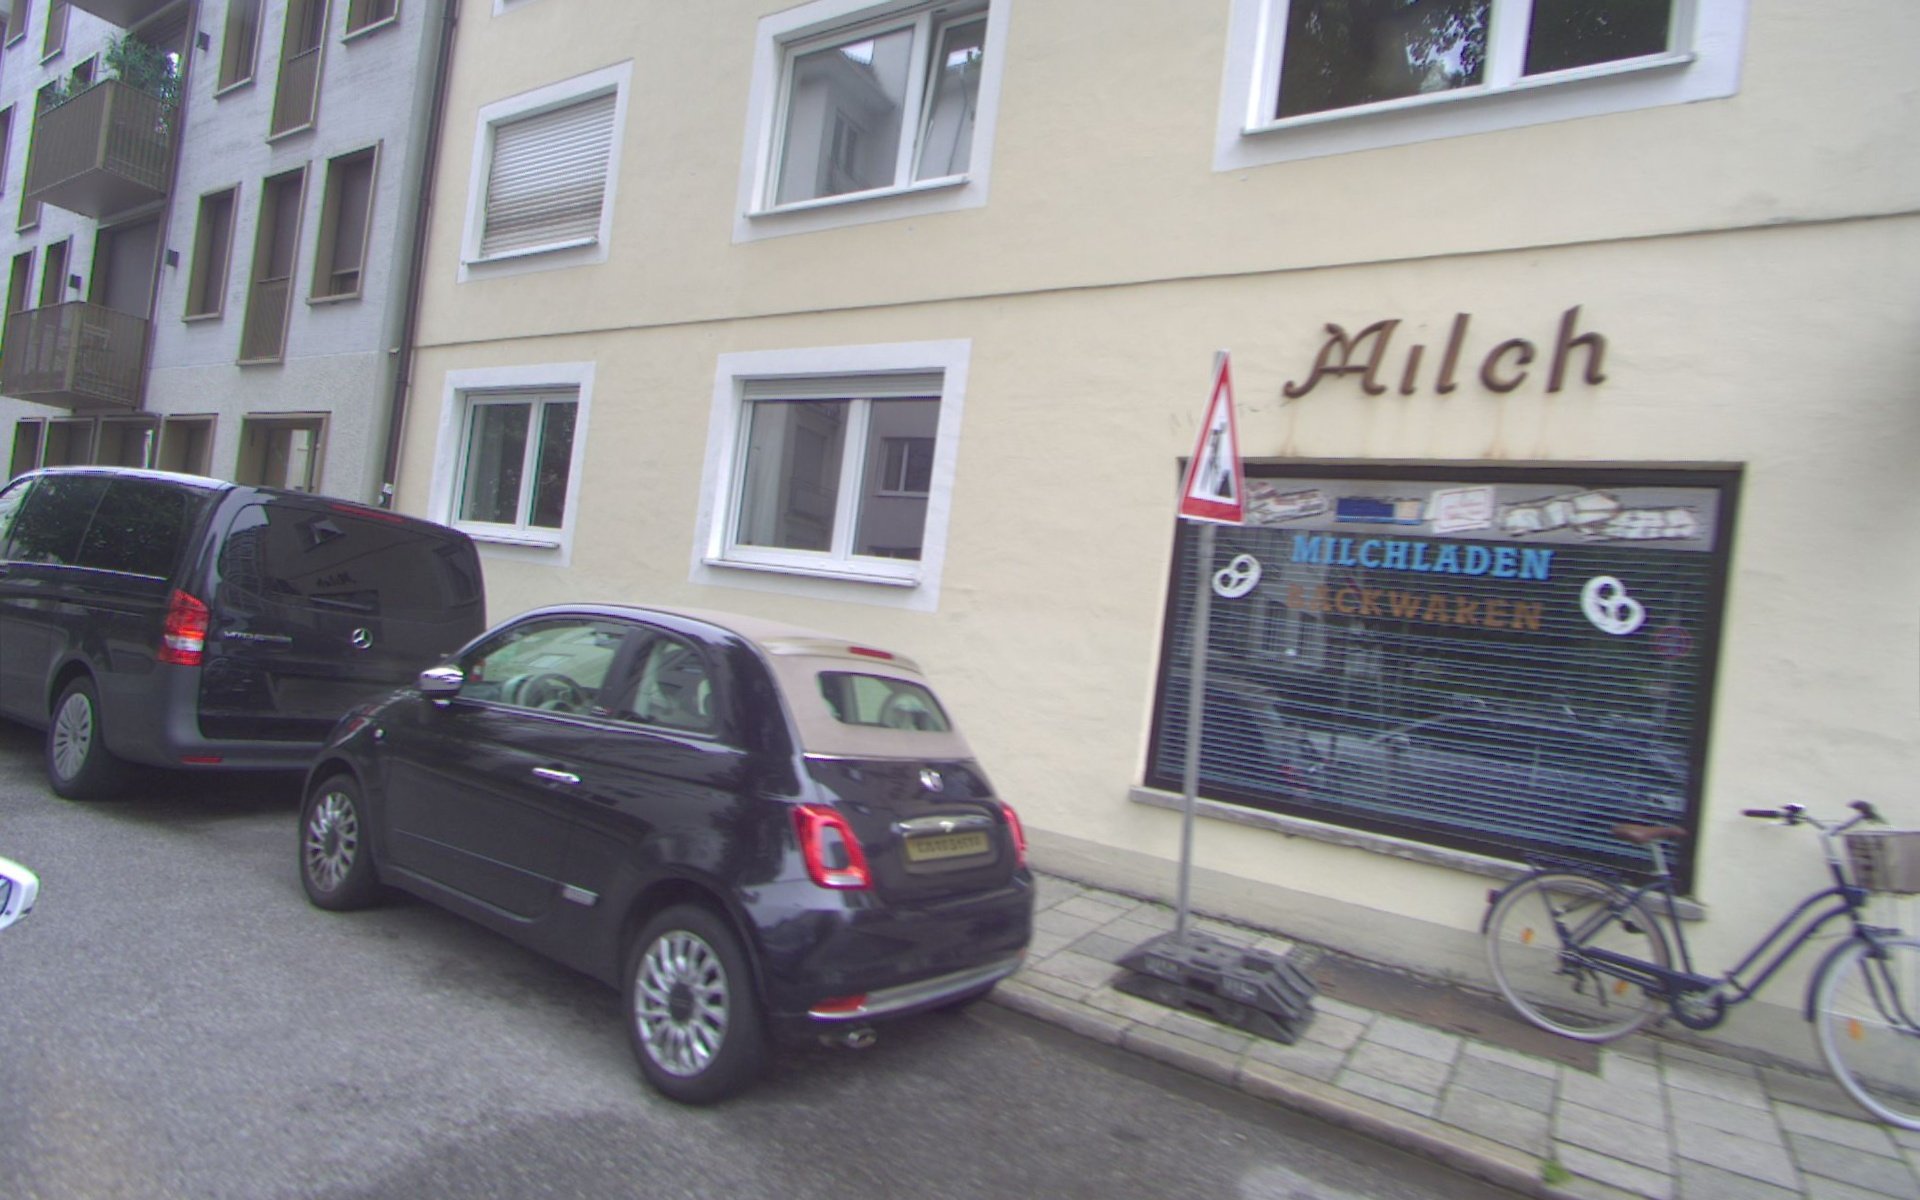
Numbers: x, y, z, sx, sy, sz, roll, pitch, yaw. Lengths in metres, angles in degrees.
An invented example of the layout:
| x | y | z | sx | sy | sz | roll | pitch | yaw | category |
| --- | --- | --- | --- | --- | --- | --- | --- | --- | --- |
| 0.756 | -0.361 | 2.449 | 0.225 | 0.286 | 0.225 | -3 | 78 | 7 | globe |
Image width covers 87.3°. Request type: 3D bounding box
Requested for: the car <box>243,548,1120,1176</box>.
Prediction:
| x | y | z | sx | sy | sz | roll | pitch | yaw | category |
| --- | --- | --- | --- | --- | --- | --- | --- | --- | --- |
| -1.322 | 0.755 | 4.363 | 3.481 | 1.487 | 1.638 | 6 | -4 | 34 | car |

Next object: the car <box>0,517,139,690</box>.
| x | y | z | sx | sy | sz | roll | pitch | yaw | category |
| --- | --- | --- | --- | --- | --- | --- | --- | --- | --- |
| -10.233 | -0.166 | 10.157 | 4.311 | 1.477 | 1.772 | 6 | -4 | 35 | car |

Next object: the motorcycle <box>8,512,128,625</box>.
| x | y | z | sx | sy | sz | roll | pitch | yaw | category |
| --- | --- | --- | --- | --- | --- | --- | --- | --- | --- |
| -12.922 | -0.468 | 14.557 | 1.901 | 1.441 | 0.805 | 6 | 1 | 34 | motorcycle |

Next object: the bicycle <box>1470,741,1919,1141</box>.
| x | y | z | sx | sy | sz | roll | pitch | yaw | category |
| --- | --- | --- | --- | --- | --- | --- | --- | --- | --- |
| 3.180 | 1.335 | 4.158 | 1.790 | 1.229 | 0.410 | 5 | 1 | 34 | bicycle |

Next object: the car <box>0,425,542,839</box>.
| x | y | z | sx | sy | sz | roll | pitch | yaw | category |
| --- | --- | --- | --- | --- | --- | --- | --- | --- | --- |
| -5.404 | 0.054 | 6.933 | 4.803 | 1.998 | 1.996 | 6 | -3 | 31 | car |
